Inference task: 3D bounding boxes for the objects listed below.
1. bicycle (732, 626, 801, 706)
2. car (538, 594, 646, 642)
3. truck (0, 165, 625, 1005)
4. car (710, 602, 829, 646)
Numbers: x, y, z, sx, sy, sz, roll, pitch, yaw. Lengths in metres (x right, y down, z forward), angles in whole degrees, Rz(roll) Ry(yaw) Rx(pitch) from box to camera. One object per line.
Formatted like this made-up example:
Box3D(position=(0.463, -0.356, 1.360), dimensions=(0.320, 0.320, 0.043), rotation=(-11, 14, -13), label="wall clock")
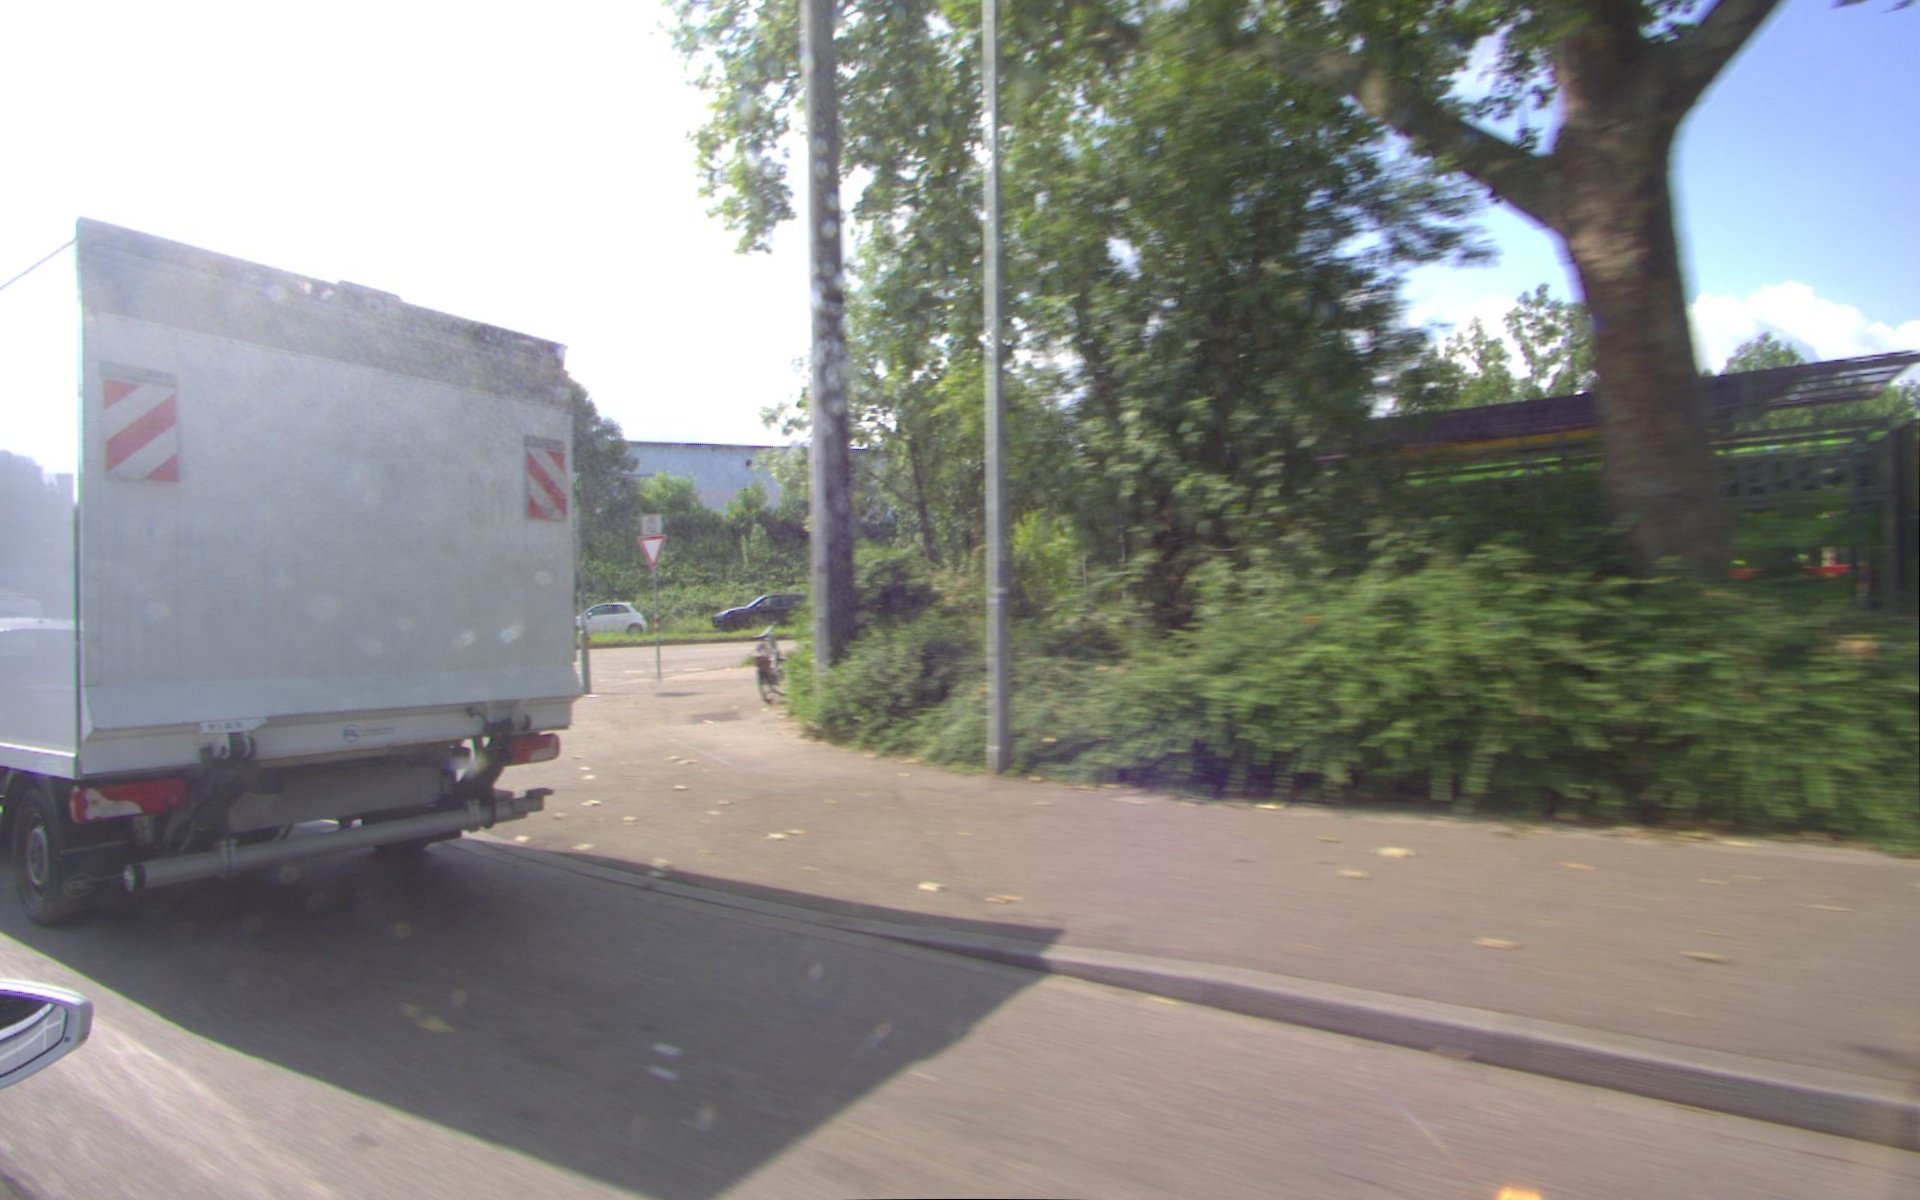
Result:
Box3D(position=(-2.897, 0.963, 15.133), dimensions=(0.518, 1.056, 1.636), rotation=(-4, 1, 5), label="bicycle")
Box3D(position=(-14.748, 0.689, 40.141), dimensions=(3.959, 1.772, 1.970), rotation=(-1, 0, -23), label="car")
Box3D(position=(-5.087, 0.027, 6.474), dimensions=(5.946, 3.162, 2.441), rotation=(-2, -1, 34), label="truck")
Box3D(position=(-8.082, 0.991, 42.481), dimensions=(4.720, 1.665, 1.816), rotation=(-2, 0, -19), label="car")
